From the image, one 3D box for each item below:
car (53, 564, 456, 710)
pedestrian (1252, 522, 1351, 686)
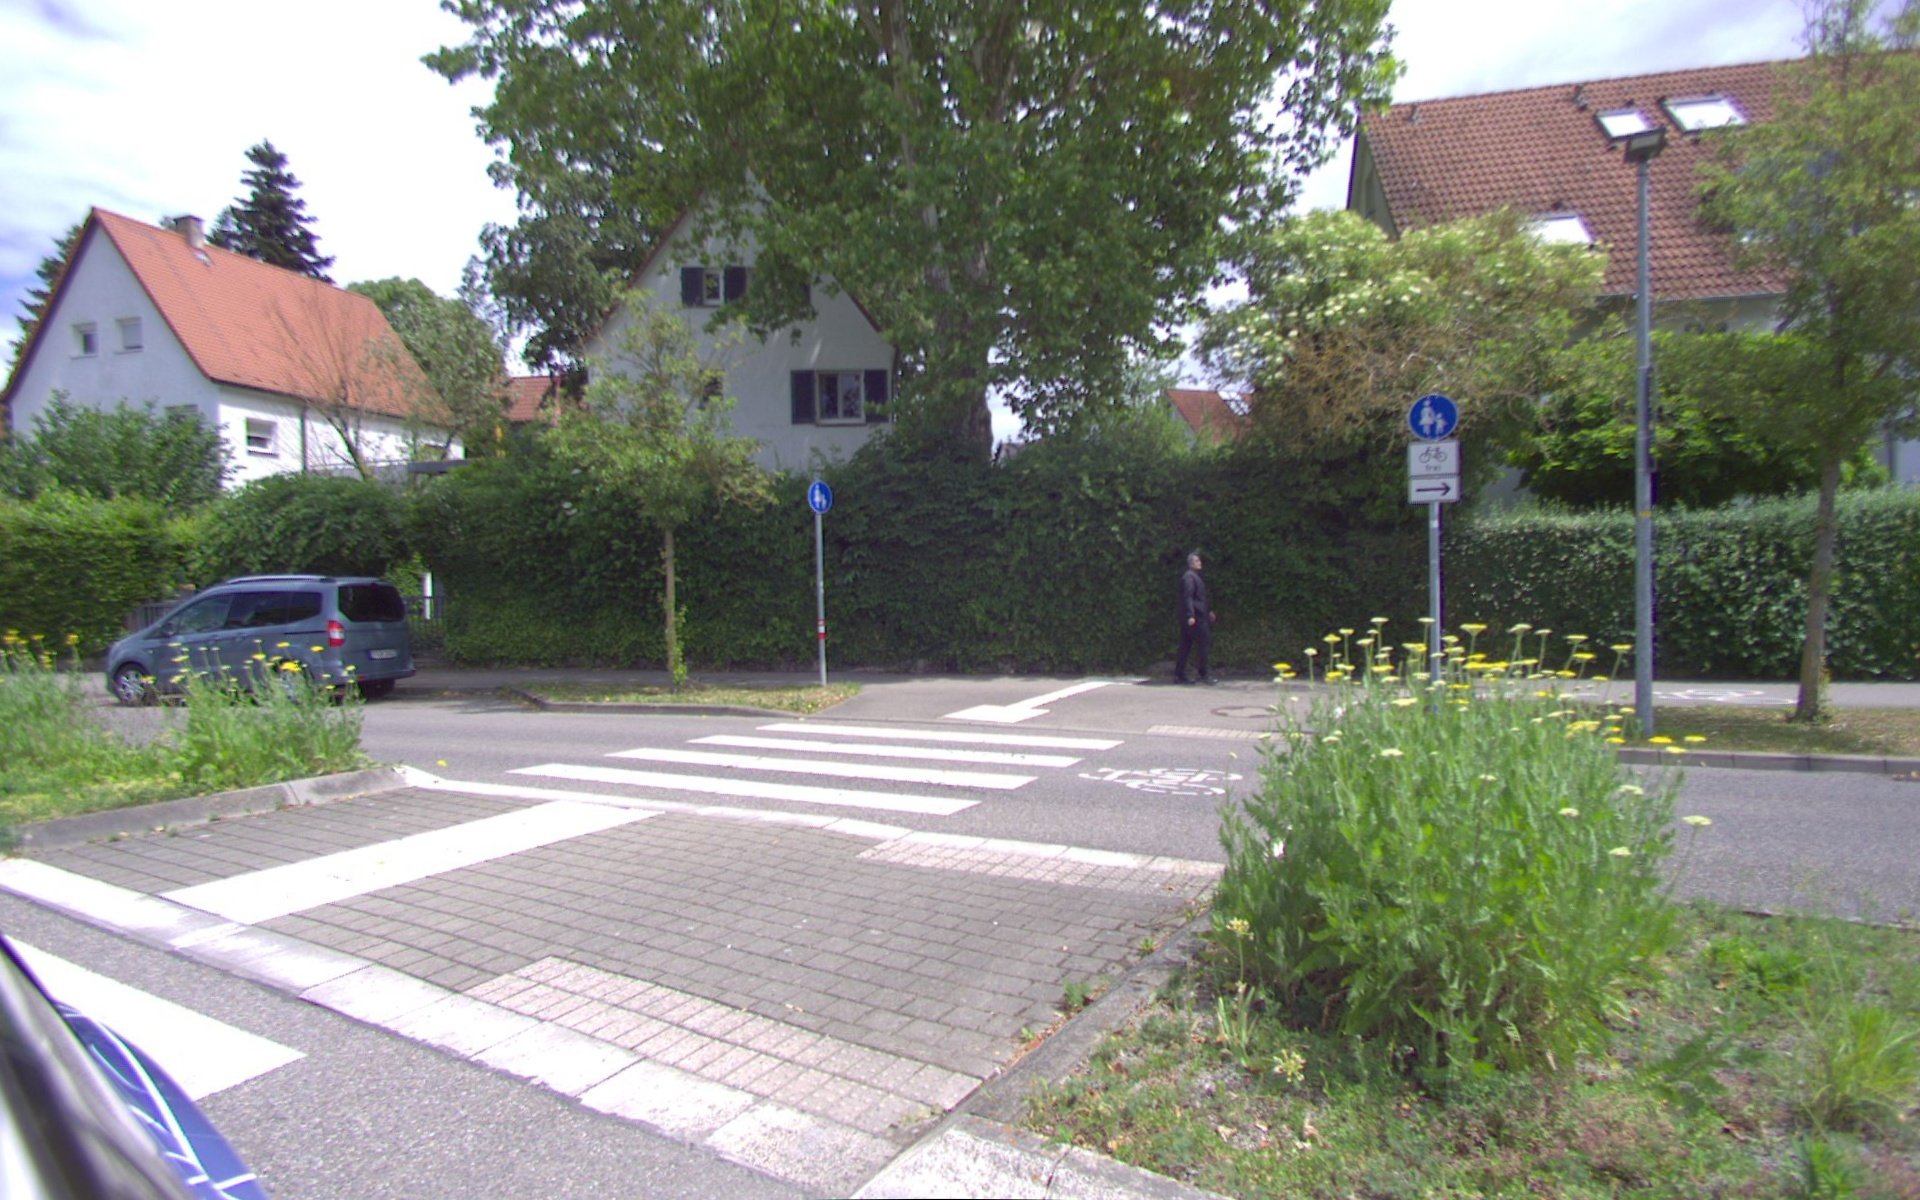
[{"bbox_3d":[-10.000,0.481,14.578,4.410,1.785,2.135,-2,3,7],"label":"car"},{"bbox_3d":[4.396,0.058,13.097,1.029,2.029,0.872,-1,0,10],"label":"pedestrian"}]
